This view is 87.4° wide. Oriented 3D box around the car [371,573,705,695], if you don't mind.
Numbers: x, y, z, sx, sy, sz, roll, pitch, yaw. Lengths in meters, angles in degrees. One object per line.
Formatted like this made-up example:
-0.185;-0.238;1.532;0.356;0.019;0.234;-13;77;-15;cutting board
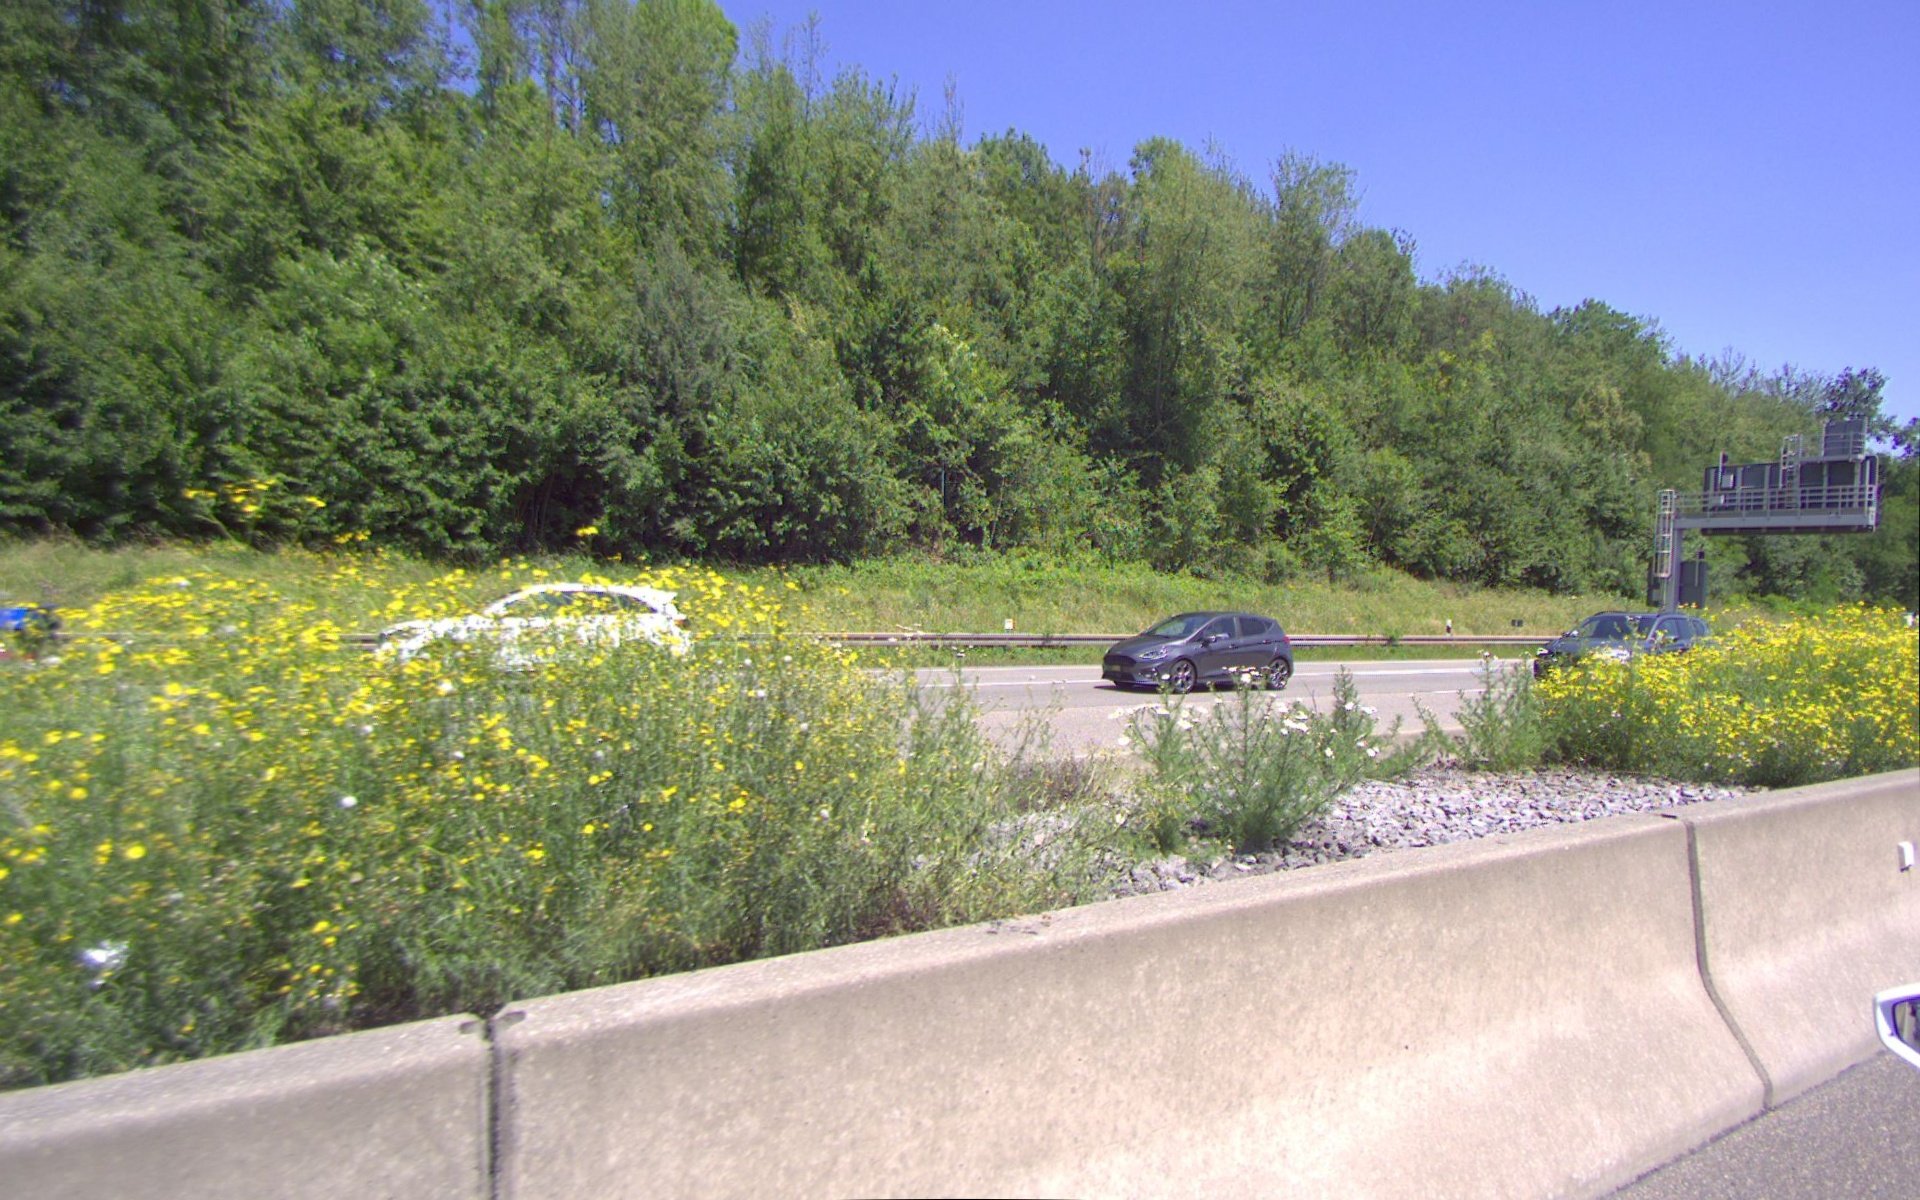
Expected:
-6.713;0.510;16.170;4.711;1.714;1.984;1;0;-30;car

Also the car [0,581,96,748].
-10.620;0.546;9.055;3.953;1.511;1.984;1;0;-30;car

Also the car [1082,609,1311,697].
4.494;0.952;19.040;3.960;1.463;1.984;1;0;-30;car

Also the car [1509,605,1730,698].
12.725;0.937;19.350;4.017;1.594;1.984;1;0;-30;car
